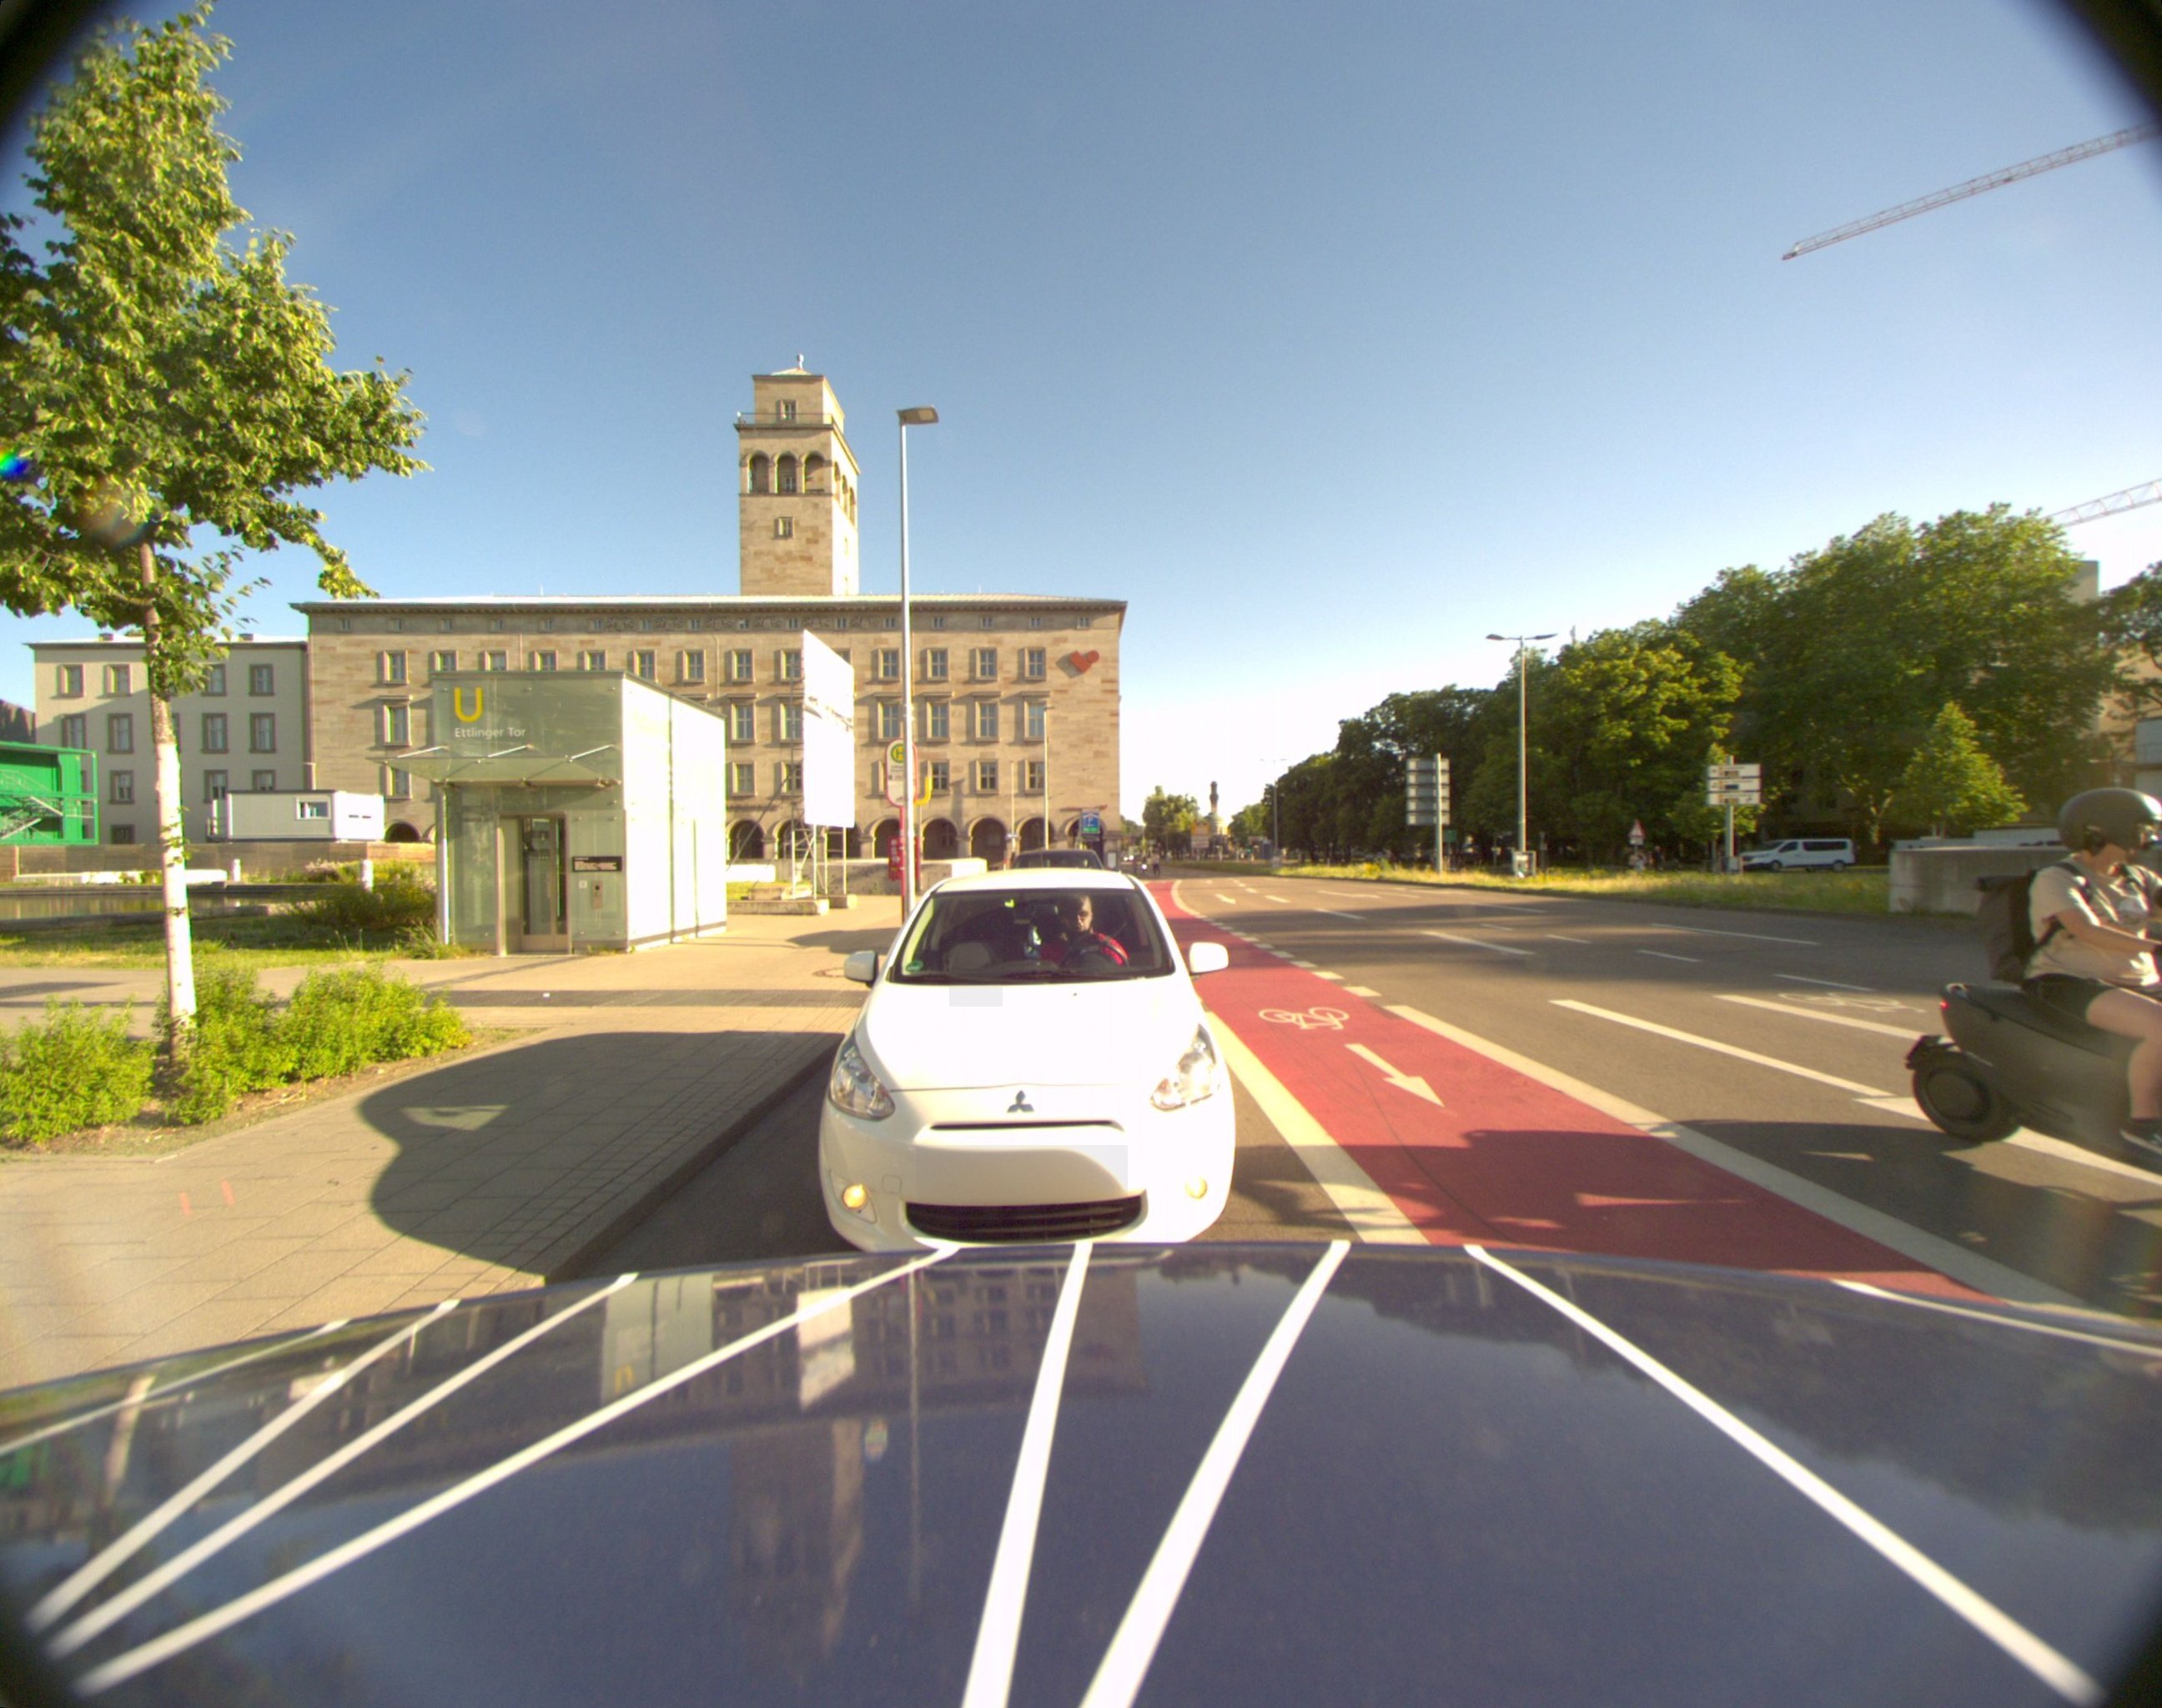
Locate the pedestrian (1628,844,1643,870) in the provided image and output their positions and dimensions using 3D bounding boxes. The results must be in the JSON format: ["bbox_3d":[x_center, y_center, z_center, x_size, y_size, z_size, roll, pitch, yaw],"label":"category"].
[{"bbox_3d":[32.295,0.166,44.269,0.499,1.502,0.494,-1,1,1],"label":"pedestrian"}]

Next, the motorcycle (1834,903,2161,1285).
[{"bbox_3d":[4.267,0.897,2.926,0.828,1.273,1.944,-1,0,1],"label":"motorcycle"}]

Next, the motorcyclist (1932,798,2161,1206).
[{"bbox_3d":[4.266,0.522,3.001,0.824,1.455,0.877,-1,1,1],"label":"motorcyclist"}]

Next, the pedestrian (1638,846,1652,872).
[{"bbox_3d":[32.928,0.316,44.362,0.499,1.502,0.494,-1,1,1],"label":"pedestrian"}]

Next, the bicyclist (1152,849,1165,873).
[{"bbox_3d":[5.557,0.499,54.581,0.807,1.690,0.852,-1,1,1],"label":"bicyclist"}]

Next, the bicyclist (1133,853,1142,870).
[{"bbox_3d":[5.191,0.667,69.788,0.824,1.568,0.877,-1,1,1],"label":"bicyclist"}]

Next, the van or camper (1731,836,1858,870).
[{"bbox_3d":[42.231,-0.054,45.064,5.499,1.934,1.951,-1,0,4],"label":"van or camper"}]

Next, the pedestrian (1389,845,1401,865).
[{"bbox_3d":[32.485,0.127,78.615,0.954,2.002,0.842,-1,2,41],"label":"pedestrian"}]

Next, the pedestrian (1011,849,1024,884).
[{"bbox_3d":[-3.073,0.586,36.827,0.552,1.692,0.553,-1,1,-1],"label":"pedestrian"}]

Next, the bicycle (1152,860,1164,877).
[{"bbox_3d":[5.529,1.054,54.580,0.741,1.140,1.890,-1,0,1],"label":"bicycle"}]

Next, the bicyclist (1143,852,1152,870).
[{"bbox_3d":[6.080,0.610,69.496,0.674,1.649,0.877,-1,1,1],"label":"bicyclist"}]

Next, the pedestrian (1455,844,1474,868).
[{"bbox_3d":[32.655,0.188,64.716,1.126,1.952,0.815,-2,1,1],"label":"pedestrian"}]

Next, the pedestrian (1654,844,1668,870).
[{"bbox_3d":[33.974,0.183,44.509,0.499,1.502,0.494,-1,1,1],"label":"pedestrian"}]

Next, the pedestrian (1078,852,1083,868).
[{"bbox_3d":[-0.080,0.805,98.748,0.612,2.002,0.727,-2,1,0],"label":"pedestrian"}]

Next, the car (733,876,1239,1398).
[{"bbox_3d":[-0.261,0.925,4.309,1.519,1.447,4.000,-1,0,1],"label":"car"}]

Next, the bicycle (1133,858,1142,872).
[{"bbox_3d":[5.198,1.016,69.809,0.689,1.185,1.506,-1,1,1],"label":"bicycle"}]

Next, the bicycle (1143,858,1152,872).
[{"bbox_3d":[6.081,0.992,69.483,0.689,1.185,1.506,-1,1,1],"label":"bicycle"}]

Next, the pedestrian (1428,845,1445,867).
[{"bbox_3d":[32.657,0.161,69.820,0.951,1.952,1.058,-2,1,-14],"label":"pedestrian"}]

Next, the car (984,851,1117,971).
[{"bbox_3d":[-0.402,0.793,12.655,1.833,1.660,4.000,-1,0,1],"label":"car"}]
